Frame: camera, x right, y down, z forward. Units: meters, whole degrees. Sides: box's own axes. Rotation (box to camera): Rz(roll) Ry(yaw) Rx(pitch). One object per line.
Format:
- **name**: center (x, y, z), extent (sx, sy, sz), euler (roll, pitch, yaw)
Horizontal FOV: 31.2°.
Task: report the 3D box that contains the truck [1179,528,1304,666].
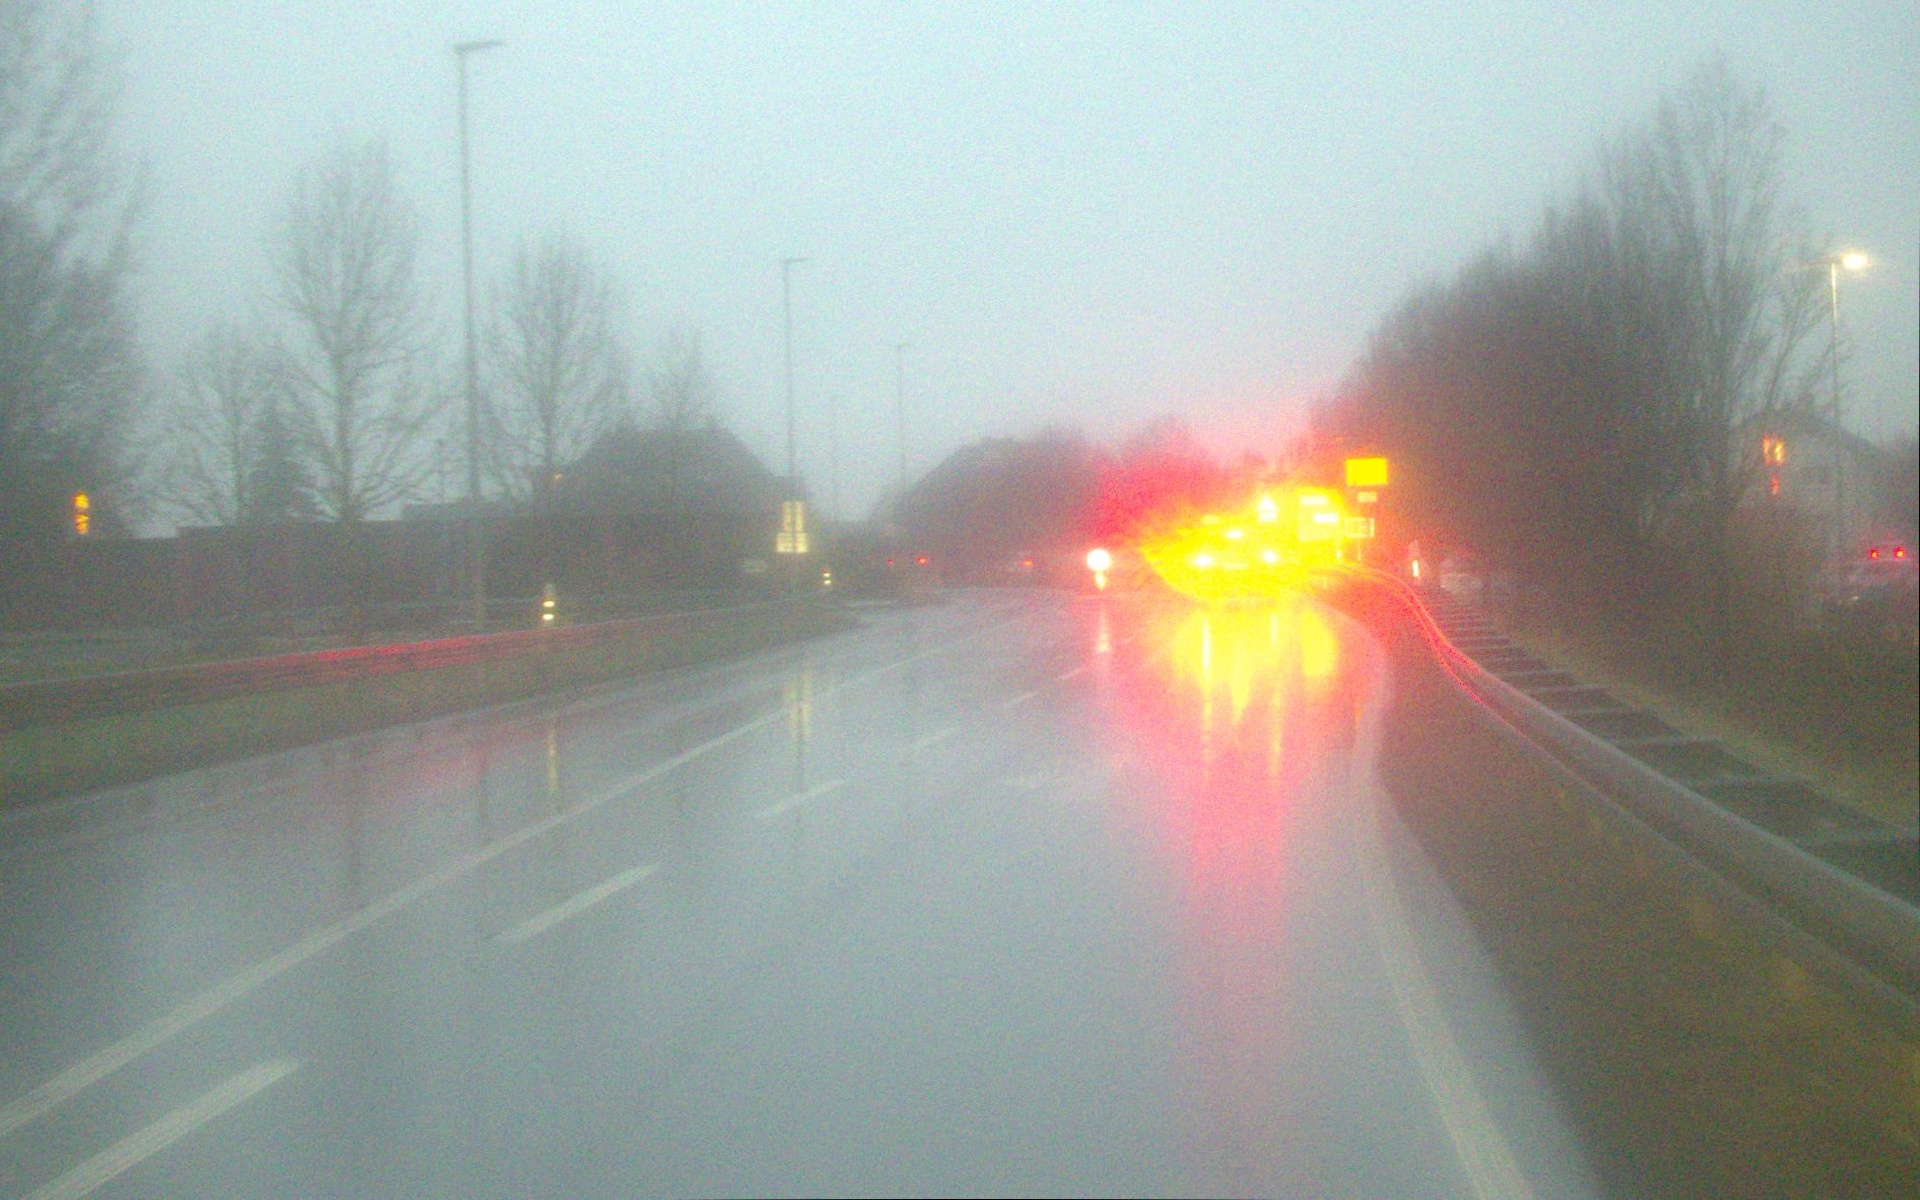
- **truck**: center (6.283, -0.095, 76.162), extent (2.532, 2.859, 5.921), euler (-2, 0, 6)
